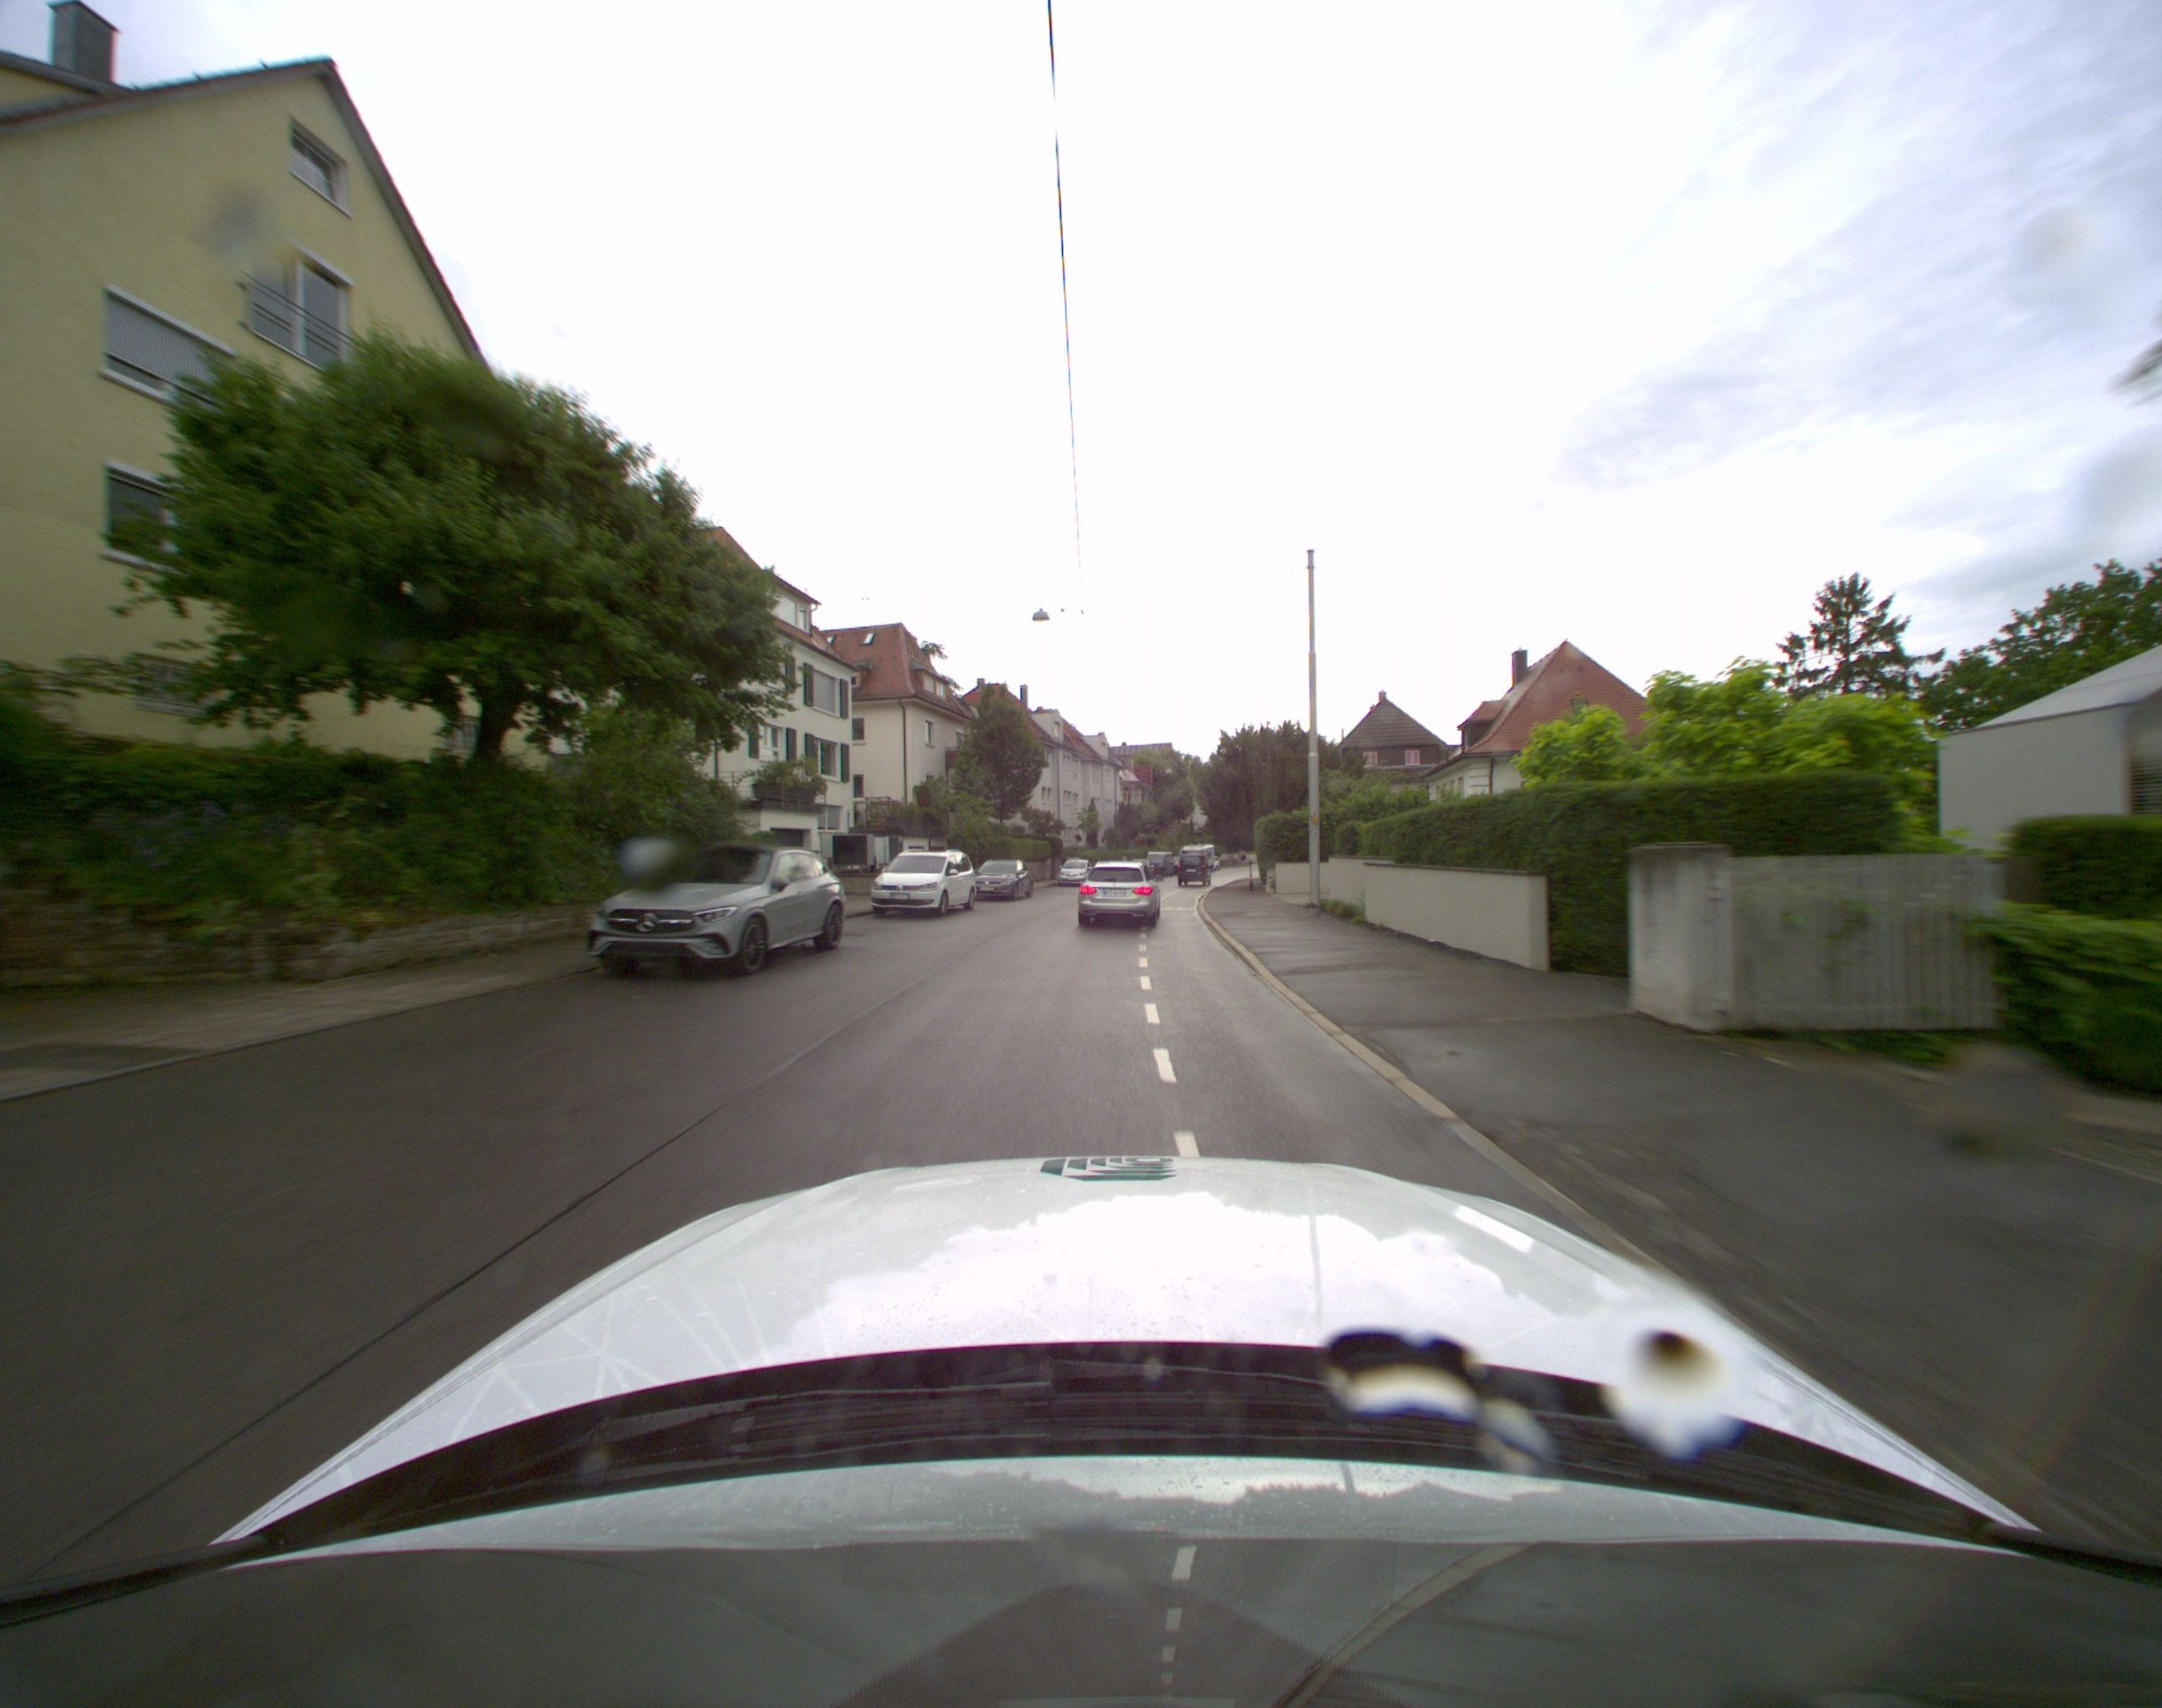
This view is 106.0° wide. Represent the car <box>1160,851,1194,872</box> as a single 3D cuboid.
[{"bbox_3d":[8.773,0.645,73.981,1.976,1.688,4.702,1,2,21],"label":"car"}]

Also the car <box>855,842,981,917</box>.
[{"bbox_3d":[-4.230,0.596,22.019,1.984,1.702,4.746,3,0,5],"label":"car"}]

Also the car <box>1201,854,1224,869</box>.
[{"bbox_3d":[13.956,0.764,86.198,1.698,1.447,3.272,1,2,21],"label":"car"}]

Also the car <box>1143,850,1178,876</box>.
[{"bbox_3d":[6.697,0.723,68.128,1.815,2.056,5.033,1,0,18],"label":"car"}]

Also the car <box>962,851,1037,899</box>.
[{"bbox_3d":[-2.939,0.712,30.315,1.782,1.580,4.148,3,0,8],"label":"car"}]

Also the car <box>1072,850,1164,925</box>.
[{"bbox_3d":[0.999,0.707,19.540,1.806,1.556,4.009,1,1,8],"label":"car"}]

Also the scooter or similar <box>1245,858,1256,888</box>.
[{"bbox_3d":[7.531,0.835,36.213,0.447,1.307,1.486,-2,-1,10],"label":"scooter or similar"}]

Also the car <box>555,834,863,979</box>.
[{"bbox_3d":[-4.951,0.588,11.813,1.985,1.580,4.766,3,1,3],"label":"car"}]

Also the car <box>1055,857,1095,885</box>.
[{"bbox_3d":[-0.290,0.926,45.461,1.595,1.486,3.496,1,0,9],"label":"car"}]

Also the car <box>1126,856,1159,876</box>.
[{"bbox_3d":[4.746,0.920,62.609,1.631,1.417,4.631,1,0,15],"label":"car"}]

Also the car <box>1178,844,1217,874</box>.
[{"bbox_3d":[11.623,0.408,80.889,2.370,2.771,6.566,1,2,21],"label":"car"}]

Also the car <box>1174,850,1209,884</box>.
[{"bbox_3d":[6.580,0.745,48.121,1.831,1.904,4.011,1,0,10],"label":"car"}]
